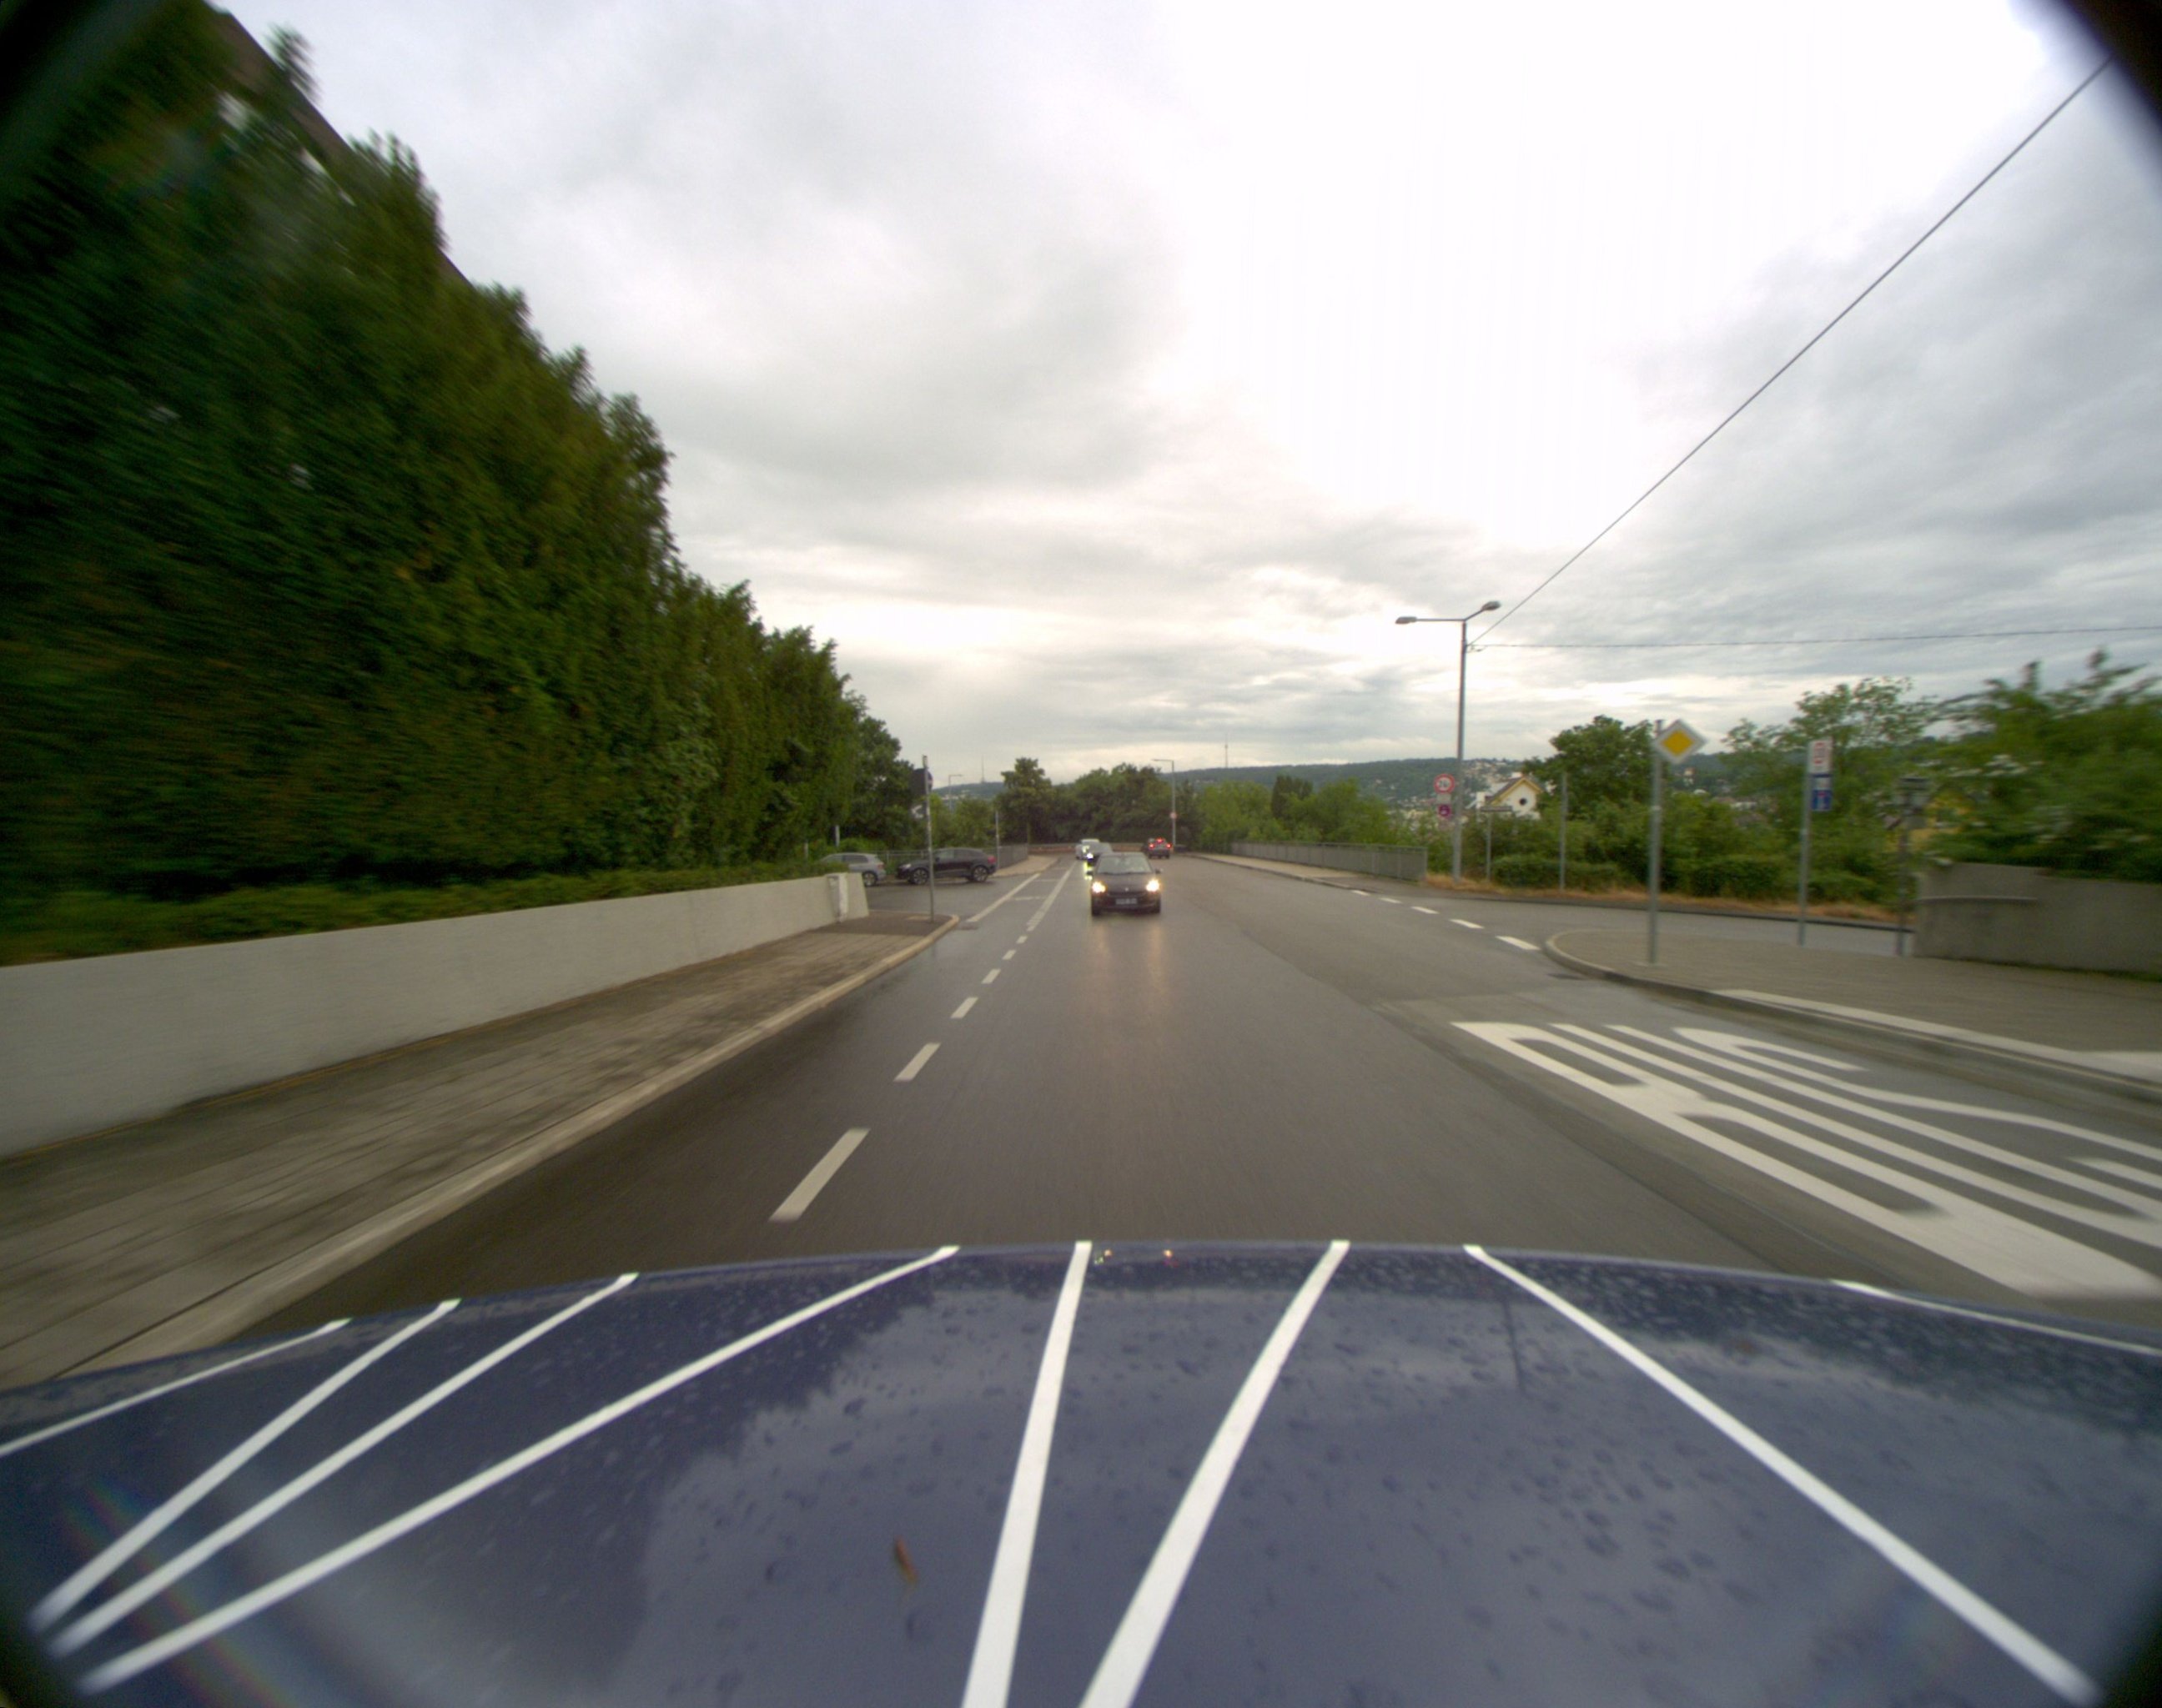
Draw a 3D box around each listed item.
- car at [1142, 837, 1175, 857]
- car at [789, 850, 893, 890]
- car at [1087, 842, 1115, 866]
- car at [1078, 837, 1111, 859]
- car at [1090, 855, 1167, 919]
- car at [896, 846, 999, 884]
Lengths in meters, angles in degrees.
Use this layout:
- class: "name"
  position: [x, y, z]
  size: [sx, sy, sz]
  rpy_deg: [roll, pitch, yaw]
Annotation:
- class: "car"
  position: [6.114, -0.586, 60.307]
  size: [1.739, 1.537, 3.996]
  rpy_deg: [0, 2, -6]
- class: "car"
  position: [-10.263, 0.633, 32.511]
  size: [4.060, 1.417, 1.797]
  rpy_deg: [-2, 3, -22]
- class: "car"
  position: [1.262, -0.037, 49.988]
  size: [1.766, 1.445, 4.399]
  rpy_deg: [-1, 1, 1]
- class: "car"
  position: [1.038, -0.514, 61.258]
  size: [1.890, 1.566, 4.588]
  rpy_deg: [-2, 2, -9]
- class: "car"
  position: [1.116, 0.760, 19.237]
  size: [1.680, 1.405, 3.636]
  rpy_deg: [-1, 1, 0]
- class: "car"
  position: [-6.037, 0.464, 34.252]
  size: [4.206, 1.514, 1.996]
  rpy_deg: [-2, 1, -23]
